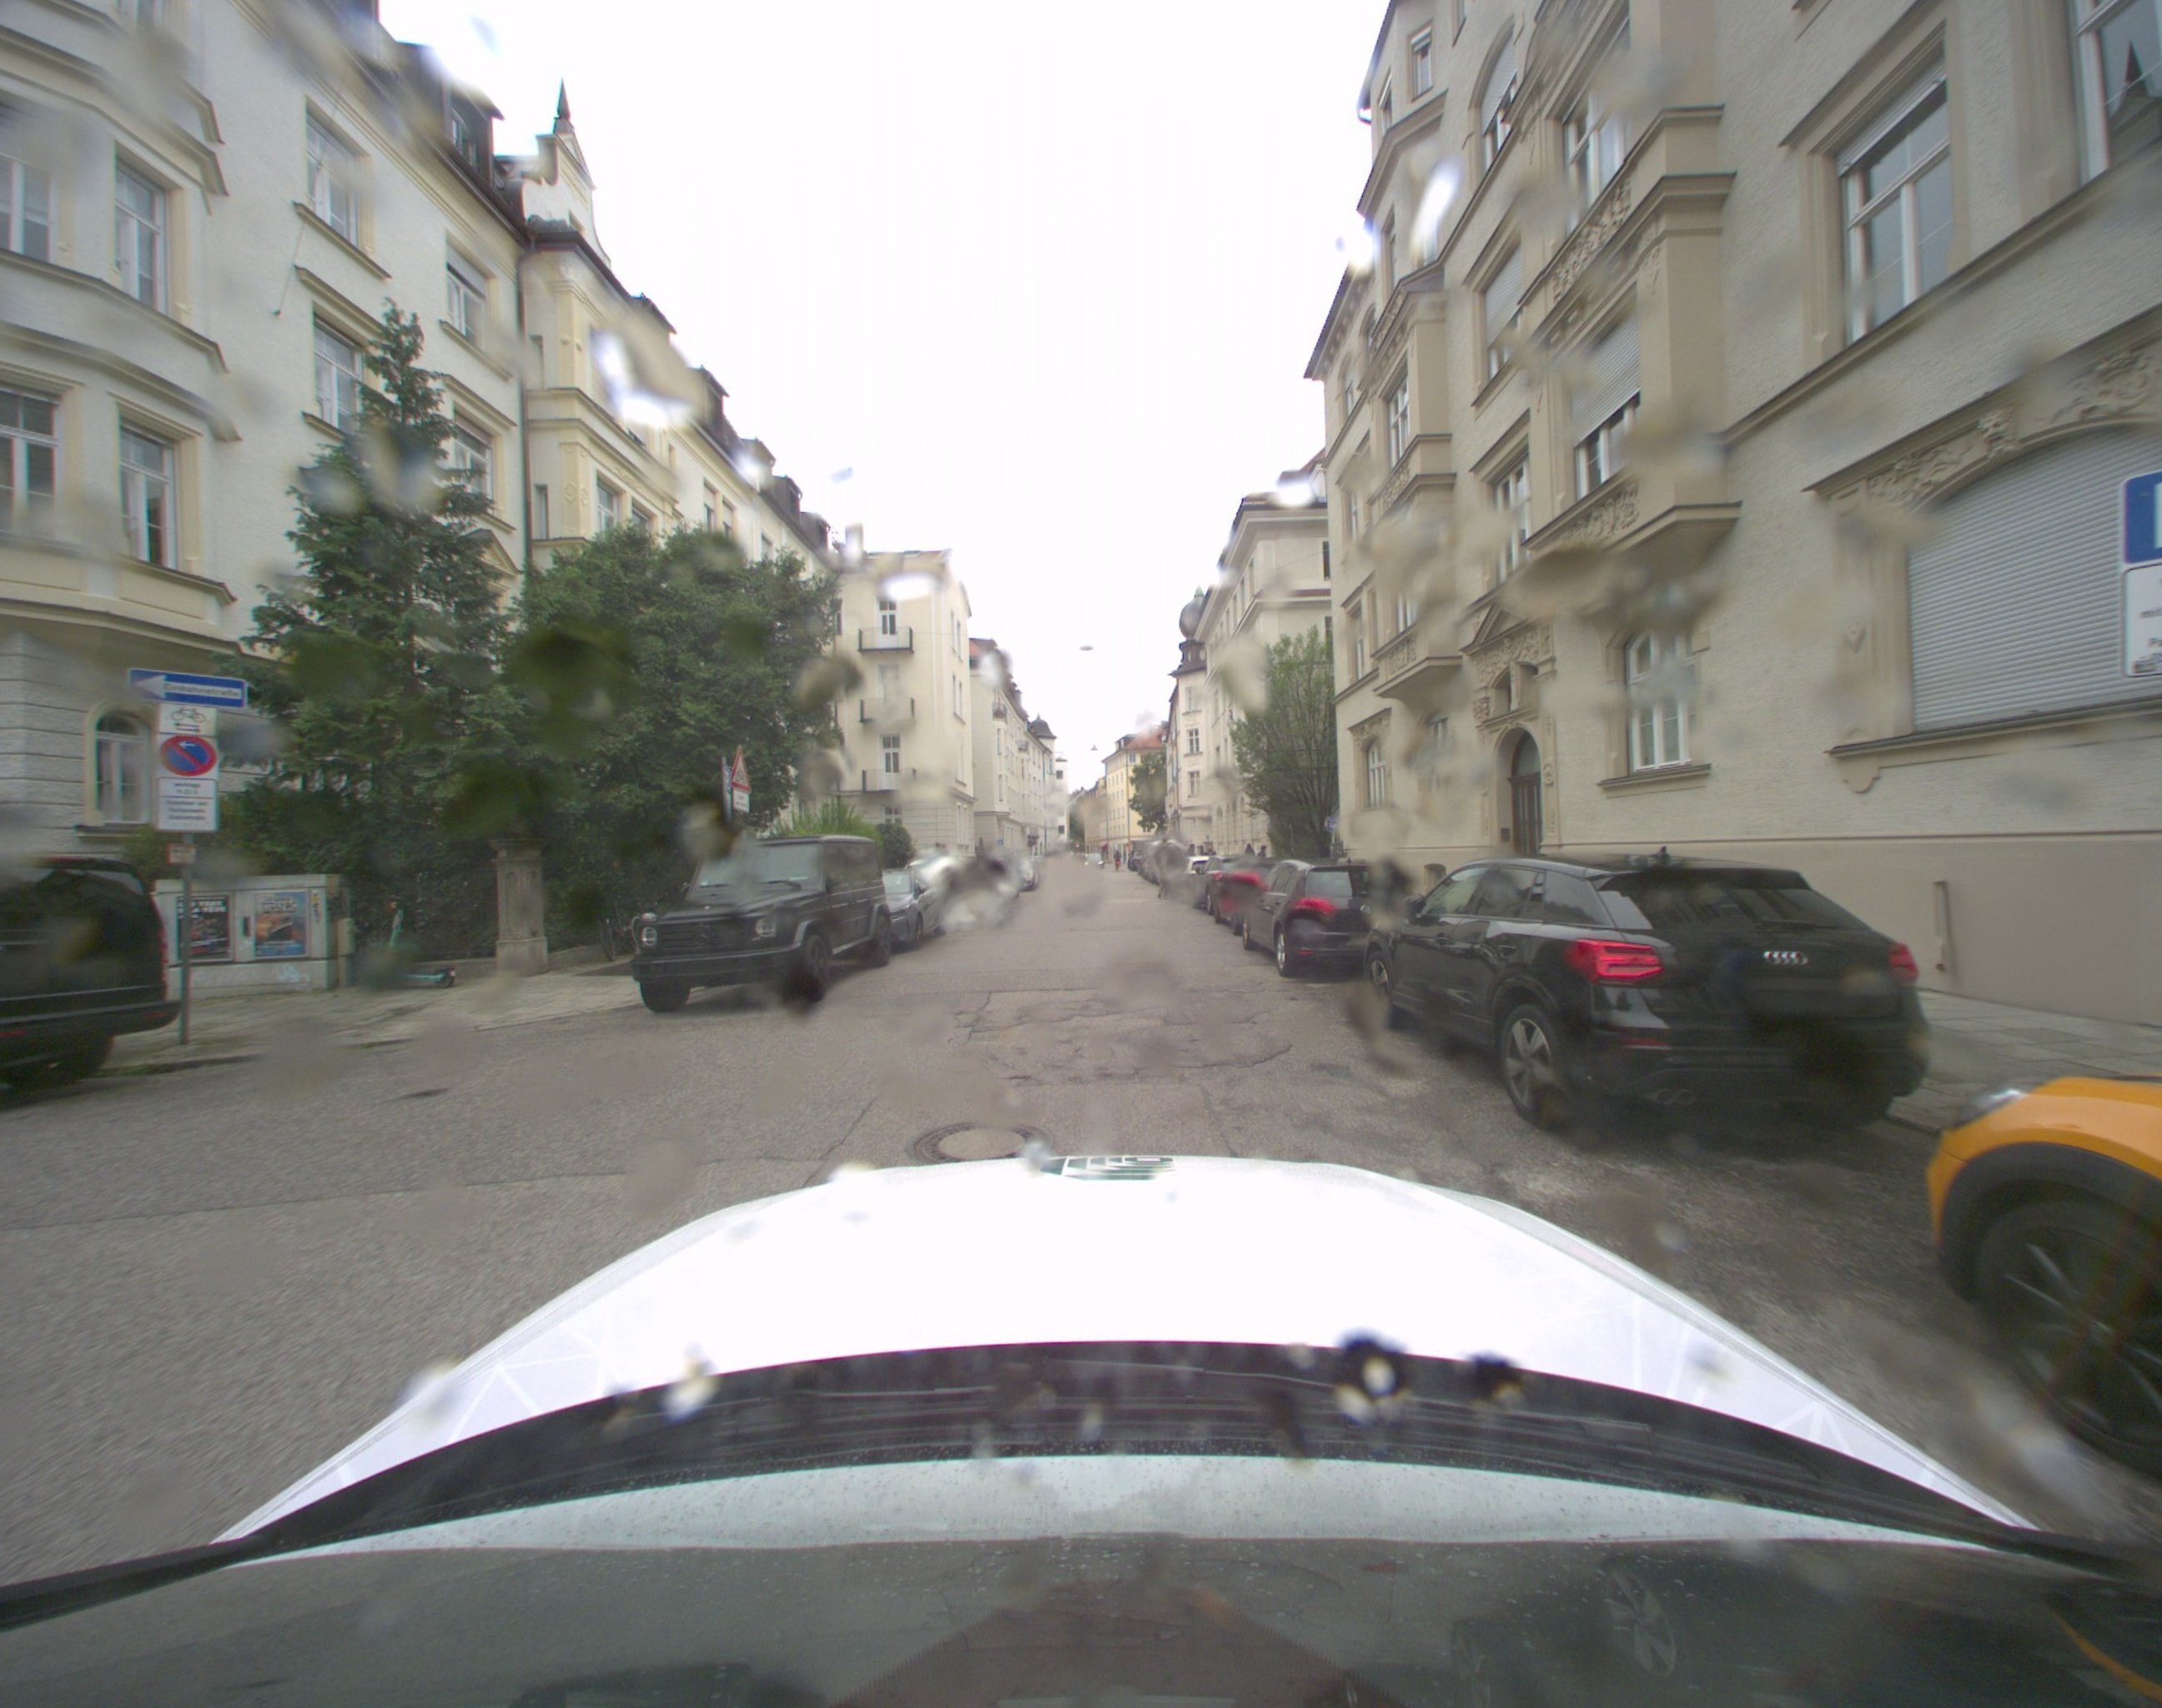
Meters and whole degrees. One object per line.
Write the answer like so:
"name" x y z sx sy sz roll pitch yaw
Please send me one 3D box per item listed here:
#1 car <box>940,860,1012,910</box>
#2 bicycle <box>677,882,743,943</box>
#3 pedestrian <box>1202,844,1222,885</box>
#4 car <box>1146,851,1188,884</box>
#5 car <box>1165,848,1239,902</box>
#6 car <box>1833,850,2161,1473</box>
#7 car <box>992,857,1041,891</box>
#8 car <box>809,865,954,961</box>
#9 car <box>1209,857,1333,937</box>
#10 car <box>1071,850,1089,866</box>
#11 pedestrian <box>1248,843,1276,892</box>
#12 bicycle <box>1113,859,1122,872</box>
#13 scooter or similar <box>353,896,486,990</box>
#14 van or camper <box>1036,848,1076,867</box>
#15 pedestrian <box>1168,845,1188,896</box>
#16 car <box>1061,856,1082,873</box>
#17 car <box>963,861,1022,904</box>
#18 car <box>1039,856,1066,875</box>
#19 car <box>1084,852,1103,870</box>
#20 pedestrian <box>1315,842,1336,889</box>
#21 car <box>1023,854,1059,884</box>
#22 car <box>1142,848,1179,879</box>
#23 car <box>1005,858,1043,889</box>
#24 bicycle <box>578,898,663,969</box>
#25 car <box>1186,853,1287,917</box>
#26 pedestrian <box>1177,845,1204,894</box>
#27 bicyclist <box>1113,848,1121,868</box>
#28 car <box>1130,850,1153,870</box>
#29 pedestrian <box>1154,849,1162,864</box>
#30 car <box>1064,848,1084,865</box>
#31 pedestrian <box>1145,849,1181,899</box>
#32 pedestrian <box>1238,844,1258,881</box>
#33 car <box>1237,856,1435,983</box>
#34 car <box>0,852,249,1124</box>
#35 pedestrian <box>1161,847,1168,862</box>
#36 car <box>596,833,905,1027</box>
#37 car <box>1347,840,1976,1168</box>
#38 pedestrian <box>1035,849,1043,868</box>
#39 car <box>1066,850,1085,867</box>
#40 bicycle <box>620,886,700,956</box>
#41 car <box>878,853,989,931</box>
"car" -3.234 0.922 25.744 1.763 1.420 3.998 -1 0 -1
"bicycle" -7.533 1.160 16.611 0.487 1.097 1.766 -1 1 0
"pedestrian" 5.932 0.466 36.952 0.679 1.775 0.855 -5 0 2
"car" 4.287 0.631 41.073 1.742 1.525 4.172 -2 0 2
"car" 3.765 0.733 25.972 1.658 1.508 4.062 -2 -3 -1
"car" 3.316 0.719 0.932 1.650 1.440 3.599 -2 0 2
"car" -2.948 0.901 37.804 1.790 1.435 4.081 -2 0 1
"car" -3.615 1.004 15.495 1.637 1.430 3.919 -5 0 1
"car" 3.691 0.793 16.467 1.735 1.398 4.024 0 -1 2
"car" -0.103 0.476 98.390 1.870 1.783 4.005 -2 0 4
"pedestrian" 6.798 0.500 30.584 0.856 1.817 0.678 -1 0 0
"bicycle" 3.025 0.965 67.532 0.636 1.004 1.577 -2 0 6
"scooter or similar" -8.829 1.177 10.883 1.420 1.179 0.460 -1 2 5
"van or camper" -3.834 0.543 123.260 5.898 2.677 1.869 -2 -2 -7
"pedestrian" 3.400 0.571 28.614 0.625 1.769 0.673 -2 0 5
"car" -0.882 0.932 73.348 1.806 1.385 4.440 -3 0 -2
"car" -3.225 1.013 30.452 1.730 1.364 4.191 -4 0 -1
"car" -2.160 0.849 62.311 1.844 1.367 4.701 -2 0 0
"car" 1.249 0.669 80.293 1.718 1.533 4.087 -4 0 2
"pedestrian" 9.496 0.440 31.659 0.570 1.794 0.555 -2 0 0
"car" -2.367 0.862 48.654 1.690 1.580 4.064 -4 0 2
"car" 4.529 0.492 46.941 1.888 1.636 4.395 -2 1 3
"car" -2.901 0.968 42.328 1.640 1.403 3.998 -4 0 -1
"bicycle" -7.574 1.279 13.469 0.449 0.951 1.637 -1 1 0
"car" 4.010 0.738 21.653 1.787 1.498 4.080 1 0 -2
"pedestrian" 4.038 0.570 30.072 0.879 1.769 0.672 -2 0 0
"bicyclist" 3.007 0.339 67.589 0.603 1.606 0.759 -2 0 6
"car" 5.023 0.471 68.015 1.702 1.588 4.000 0 0 0
"pedestrian" 8.930 0.262 94.664 0.701 1.728 0.703 -3 0 -1
"car" -0.659 0.240 78.117 1.735 1.487 4.182 -2 0 1
"pedestrian" 2.811 0.688 28.028 0.856 1.658 0.859 -2 -1 41
"pedestrian" 7.842 0.398 38.296 0.680 1.679 0.812 -4 0 1
"car" 3.289 0.749 11.290 1.635 1.417 4.002 -1 0 2
"car" -9.715 1.003 6.119 4.500 1.857 2.051 -2 0 -6
"pedestrian" 9.749 0.053 94.895 0.677 1.674 0.654 -4 0 -1
"car" -3.870 0.763 10.668 1.905 1.886 4.818 -2 0 1
"car" 3.357 0.703 5.790 1.736 1.516 3.959 -1 0 2
"pedestrian" -3.812 0.421 74.398 0.695 1.707 0.665 -2 0 -1
"car" -0.589 0.512 93.687 1.834 1.757 4.005 -2 0 4
"bicycle" -7.571 1.174 14.722 0.487 1.097 1.788 -1 1 0
"car" -3.574 0.845 20.551 1.800 1.648 4.486 -3 0 1
